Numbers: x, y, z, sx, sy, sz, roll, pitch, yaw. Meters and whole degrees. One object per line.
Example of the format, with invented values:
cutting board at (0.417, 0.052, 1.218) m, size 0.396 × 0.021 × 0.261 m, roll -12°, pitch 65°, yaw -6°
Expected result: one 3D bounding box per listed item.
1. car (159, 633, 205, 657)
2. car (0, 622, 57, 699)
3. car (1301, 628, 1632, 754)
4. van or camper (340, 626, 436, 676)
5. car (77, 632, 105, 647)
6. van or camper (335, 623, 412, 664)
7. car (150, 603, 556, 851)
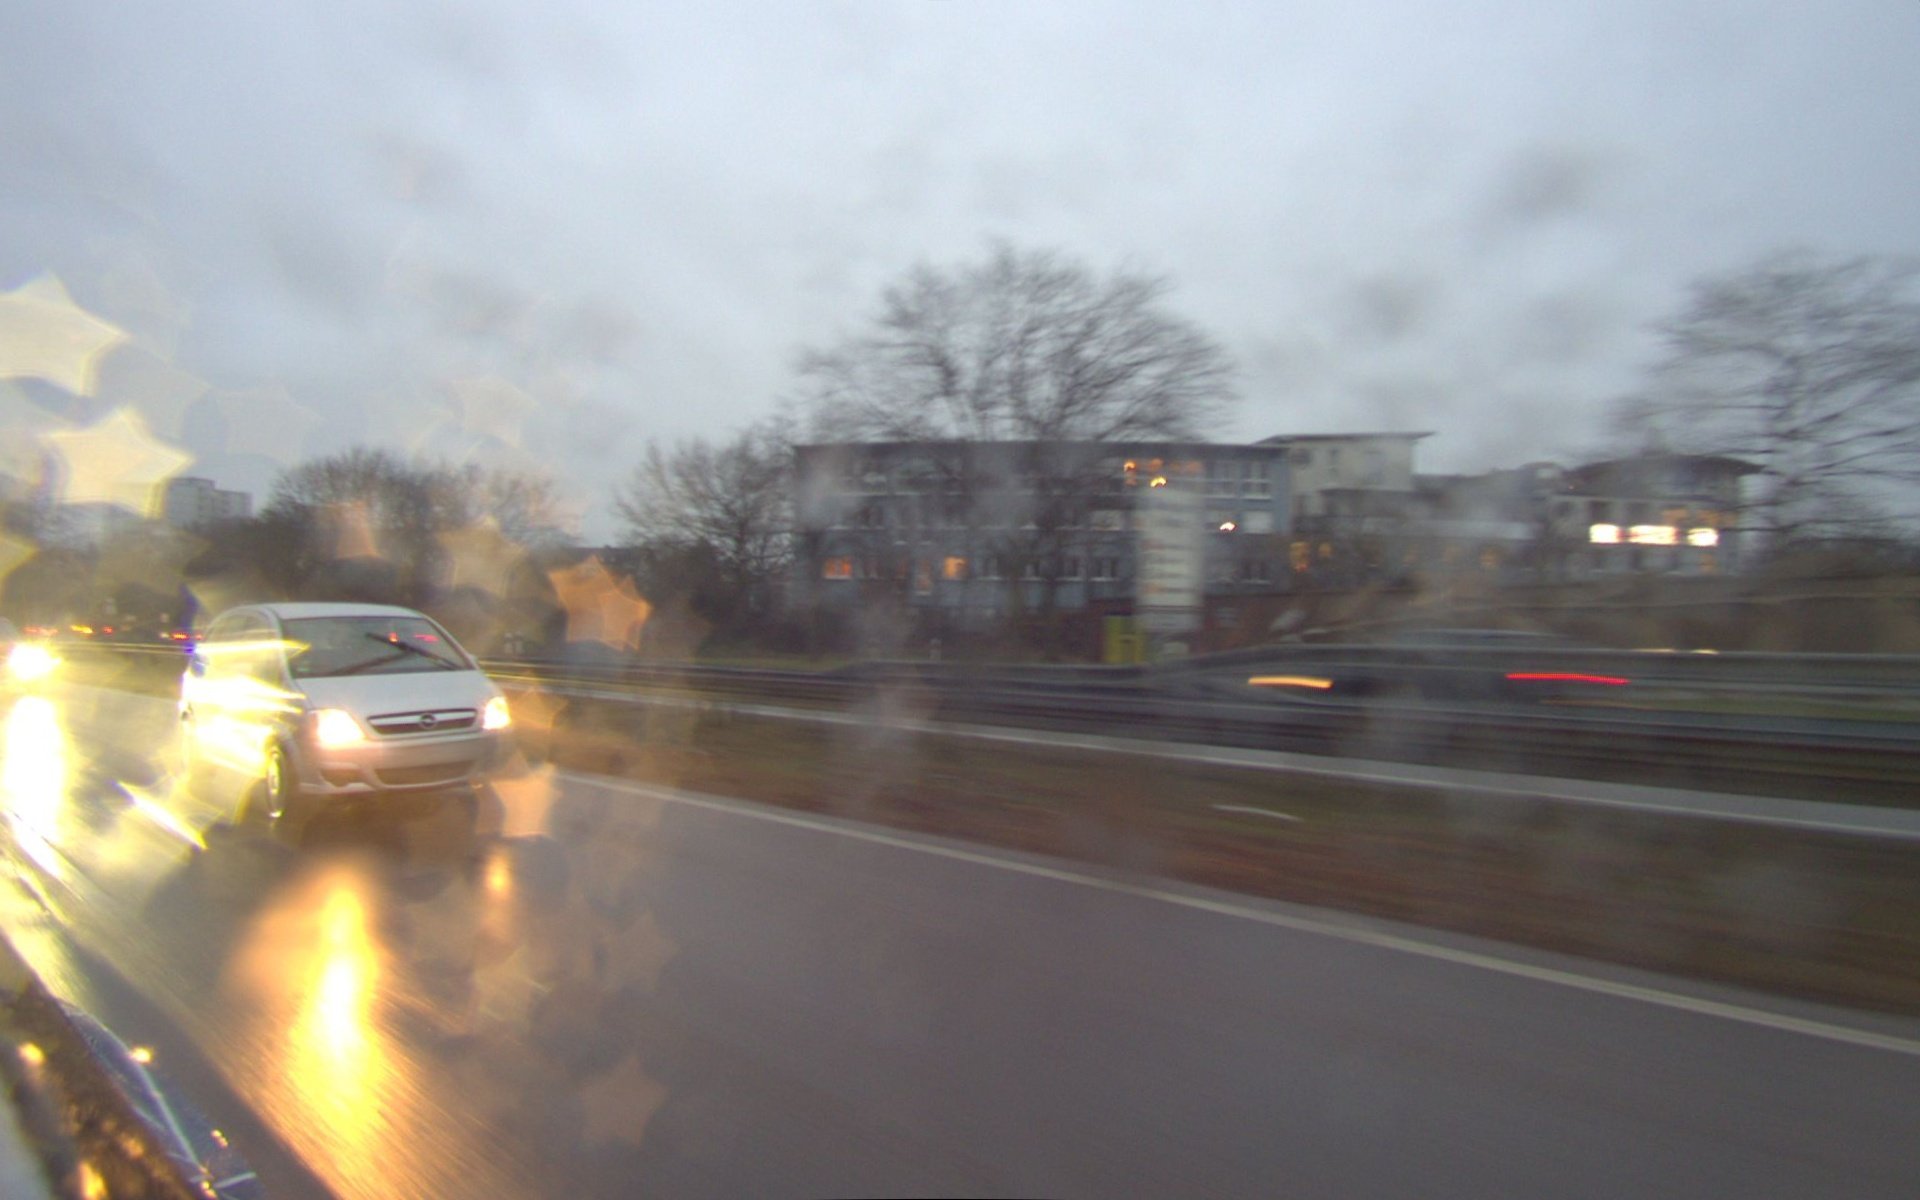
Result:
car at (-54.726, 3.132, 71.167) m, size 4.050 × 1.545 × 1.765 m, roll -1°, pitch -1°, yaw 41°
car at (-21.009, 1.237, 21.508) m, size 4.140 × 1.542 × 2.002 m, roll -1°, pitch -1°, yaw 38°
car at (6.695, 1.103, 13.559) m, size 3.637 × 1.420 × 1.737 m, roll -1°, pitch -1°, yaw 41°
van or camper at (-18.425, 1.583, 32.492) m, size 4.435 × 1.493 × 1.510 m, roll -2°, pitch -2°, yaw 44°
car at (-96.343, 4.383, 112.191) m, size 4.680 × 1.621 × 1.765 m, roll -1°, pitch -1°, yaw 41°
van or camper at (-26.404, 1.924, 45.484) m, size 4.885 × 1.749 × 1.741 m, roll -2°, pitch -2°, yaw 44°
car at (-5.302, 0.858, 8.614) m, size 4.162 × 1.611 × 1.743 m, roll -1°, pitch -1°, yaw 41°
